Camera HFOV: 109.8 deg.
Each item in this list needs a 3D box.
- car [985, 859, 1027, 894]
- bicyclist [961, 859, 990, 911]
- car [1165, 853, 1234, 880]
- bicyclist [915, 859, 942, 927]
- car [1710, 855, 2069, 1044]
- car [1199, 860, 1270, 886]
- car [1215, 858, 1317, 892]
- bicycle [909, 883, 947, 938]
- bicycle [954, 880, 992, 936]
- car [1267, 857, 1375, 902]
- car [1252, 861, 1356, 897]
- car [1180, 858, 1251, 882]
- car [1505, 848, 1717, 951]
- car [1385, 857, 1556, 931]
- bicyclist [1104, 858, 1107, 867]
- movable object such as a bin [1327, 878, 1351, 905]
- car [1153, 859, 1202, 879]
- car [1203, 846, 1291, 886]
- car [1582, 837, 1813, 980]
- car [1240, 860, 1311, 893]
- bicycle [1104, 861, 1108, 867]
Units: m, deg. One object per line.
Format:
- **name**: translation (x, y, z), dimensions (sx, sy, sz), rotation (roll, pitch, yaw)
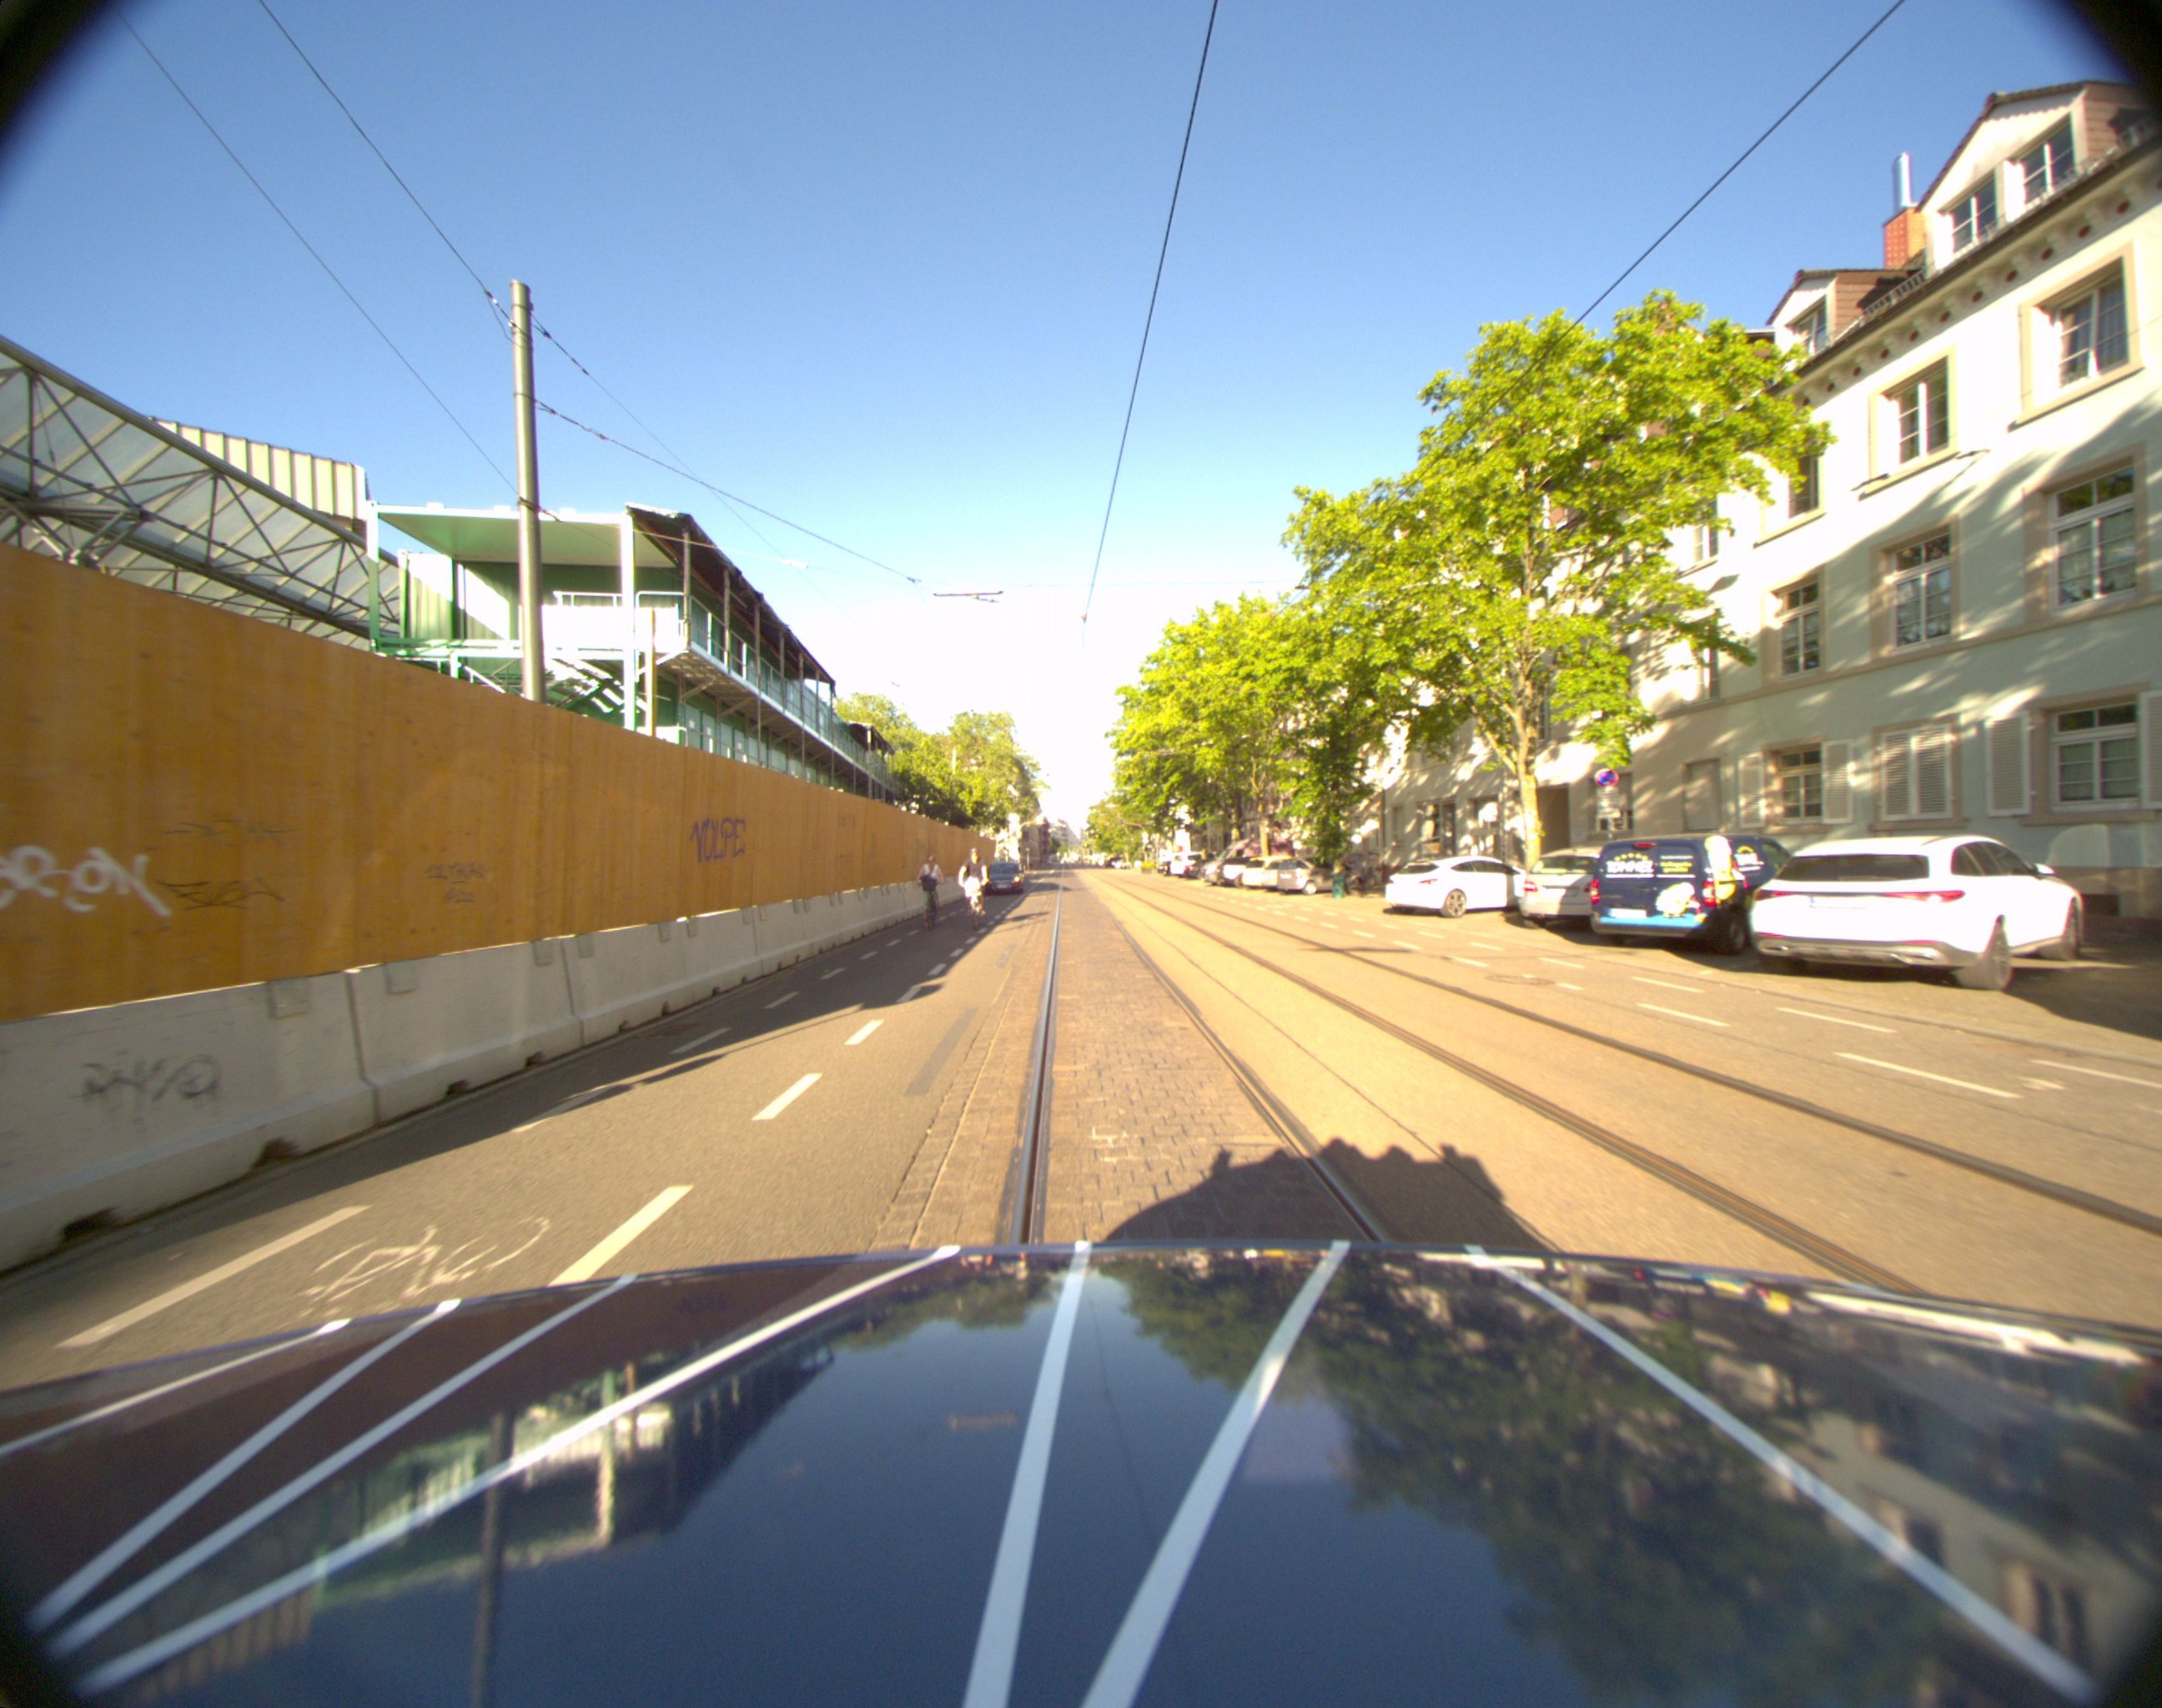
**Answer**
- **car**: translation (-3.685, 1.138, 38.105), dimensions (1.750, 1.612, 4.171), rotation (0, -2, -1)
- **bicyclist**: translation (-2.503, 0.731, 18.029), dimensions (0.653, 1.230, 0.353), rotation (0, 0, -3)
- **car**: translation (9.181, 0.930, 58.980), dimensions (4.947, 2.002, 2.071), rotation (0, 0, -24)
- **bicyclist**: translation (-3.636, 0.914, 18.146), dimensions (0.557, 1.603, 0.576), rotation (0, 0, -3)
- **car**: translation (10.330, 0.939, 9.620), dimensions (4.949, 1.784, 2.203), rotation (-1, 0, -32)
- **car**: translation (9.754, 1.208, 48.330), dimensions (4.102, 1.444, 1.668), rotation (-2, 1, -16)
- **car**: translation (9.728, 1.088, 40.277), dimensions (4.842, 1.714, 2.163), rotation (-1, 0, -3)
- **bicycle**: translation (-3.571, 1.283, 17.885), dimensions (0.559, 1.120, 2.275), rotation (-1, 0, -4)
- **bicycle**: translation (-2.492, 1.226, 17.752), dimensions (0.669, 1.148, 2.275), rotation (-2, 0, -4)
- **car**: translation (9.785, 1.019, 31.031), dimensions (4.004, 1.666, 1.699), rotation (-1, 0, -21)
- **car**: translation (9.919, 1.087, 33.843), dimensions (4.175, 1.543, 1.700), rotation (0, 0, -17)
- **car**: translation (9.743, 1.145, 55.321), dimensions (4.709, 1.567, 1.953), rotation (-2, 0, -6)
- **car**: translation (10.605, 0.822, 15.168), dimensions (4.005, 1.646, 1.807), rotation (-3, 0, -29)
- **car**: translation (9.931, 0.948, 19.410), dimensions (3.651, 1.521, 1.883), rotation (-3, 1, -21)
- **bicyclist**: translation (4.194, 1.436, 127.808), dimensions (0.419, 1.462, 0.590), rotation (0, 0, -5)
- **movable object such as a bin**: translation (9.357, 1.345, 27.596), dimensions (0.623, 0.939, 0.670), rotation (1, 0, -2)
- **car**: translation (8.571, 1.323, 67.353), dimensions (4.006, 1.549, 1.777), rotation (-2, 1, -31)
- **car**: translation (9.344, 0.674, 42.968), dimensions (4.449, 2.105, 2.163), rotation (-1, 0, -3)
- **car**: translation (9.930, 0.749, 12.206), dimensions (3.450, 1.832, 1.729), rotation (-4, 2, -30)
- **car**: translation (9.467, 1.059, 36.946), dimensions (3.380, 1.544, 1.381), rotation (0, 0, -32)
- **bicycle**: translation (4.191, 1.687, 127.681), dimensions (0.451, 0.930, 1.757), rotation (0, 0, -5)
